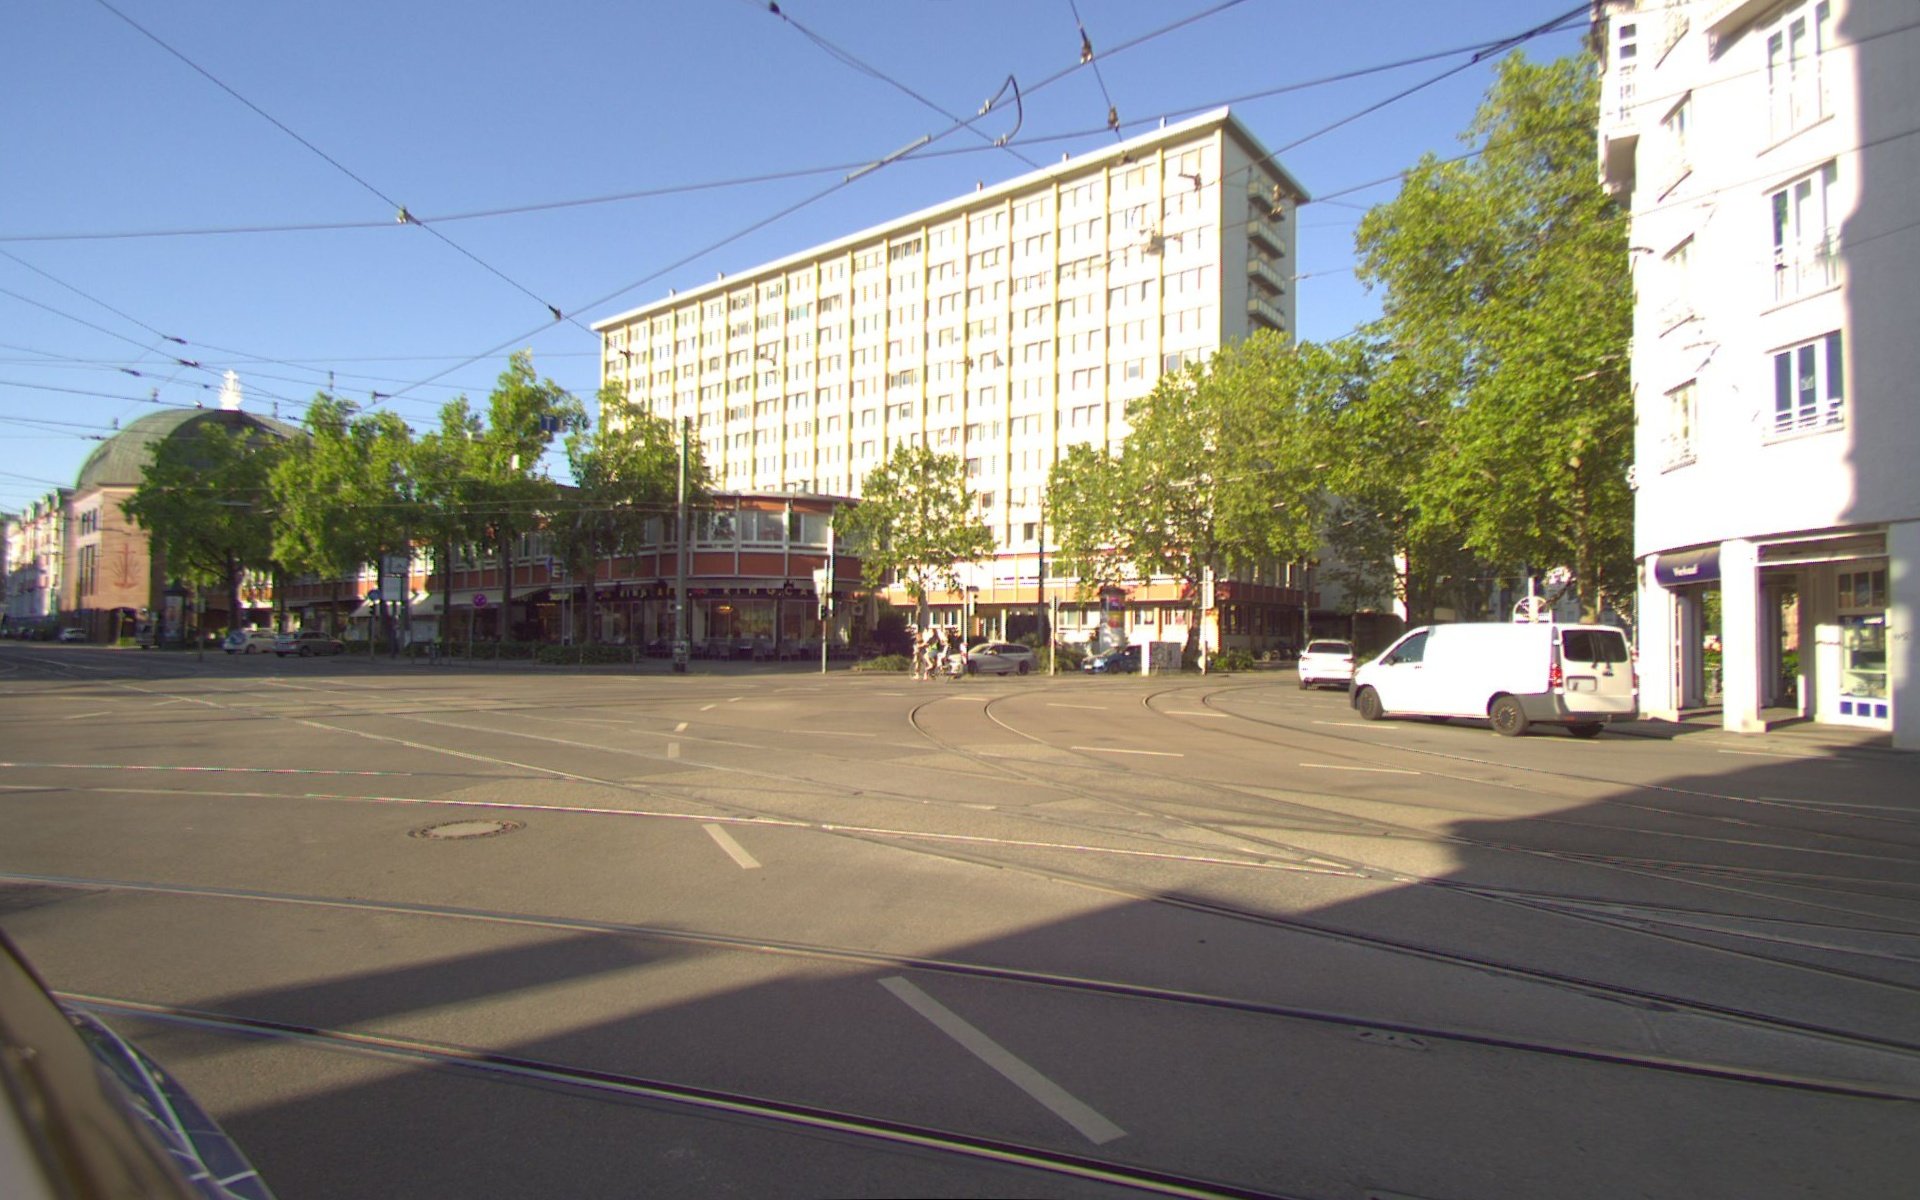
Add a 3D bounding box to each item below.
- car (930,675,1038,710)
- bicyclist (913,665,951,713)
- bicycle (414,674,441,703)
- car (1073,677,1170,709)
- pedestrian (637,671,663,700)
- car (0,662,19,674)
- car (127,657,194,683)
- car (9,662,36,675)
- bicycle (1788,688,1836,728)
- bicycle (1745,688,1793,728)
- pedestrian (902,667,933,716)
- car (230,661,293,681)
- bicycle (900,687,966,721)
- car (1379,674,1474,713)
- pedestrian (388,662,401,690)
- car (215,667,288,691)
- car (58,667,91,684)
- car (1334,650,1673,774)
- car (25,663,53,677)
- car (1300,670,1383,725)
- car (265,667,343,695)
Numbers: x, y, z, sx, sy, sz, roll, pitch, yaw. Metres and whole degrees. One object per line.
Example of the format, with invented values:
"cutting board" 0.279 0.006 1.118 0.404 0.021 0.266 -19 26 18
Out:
"car" 1.067 4.022 44.060 4.380 1.432 1.896 4 -5 -32
"bicyclist" -0.914 2.871 32.901 0.831 1.478 0.897 1 -2 -45
"bicycle" -23.387 3.870 44.429 0.574 1.244 1.858 2 -4 -43
"car" 7.694 4.407 48.051 4.380 1.432 1.896 4 -5 -32
"pedestrian" -15.774 4.350 51.559 0.890 1.407 0.924 -4 -6 43
"car" -131.641 9.345 139.811 3.996 1.615 1.940 -3 -4 40
"car" -63.306 5.546 80.212 1.888 1.979 3.991 -1 -3 7
"car" -117.538 8.592 126.867 3.996 1.615 1.940 -3 -4 40
"bicycle" 24.786 3.123 29.420 1.919 1.116 0.819 4 -6 -44
"bicycle" 24.108 3.187 30.140 1.919 1.116 0.819 4 -6 -44
"pedestrian" -1.502 3.254 36.016 0.857 1.695 0.697 5 -8 -40
"car" -72.188 7.345 104.694 1.998 2.029 4.920 -3 -5 39
"bicycle" -0.887 3.367 32.868 0.831 0.934 2.266 1 -2 -45
"car" 18.033 3.598 39.050 4.389 1.432 1.892 5 -7 -44
"pedestrian" -37.334 5.016 66.785 0.626 1.782 0.770 3 -4 -32
"car" -48.224 5.344 68.966 1.778 1.486 3.987 -1 -3 10
"car" -92.049 7.847 105.192 3.996 1.615 1.886 -3 -4 40
"car" 9.296 1.896 18.027 1.965 1.852 5.363 3 -5 -19
"car" -111.964 8.540 122.983 3.996 1.615 1.940 -3 -4 40
"car" 12.554 3.144 33.176 1.991 1.632 4.467 -2 -5 28
"car" -40.095 4.944 61.935 1.778 1.566 3.987 -1 -3 10
